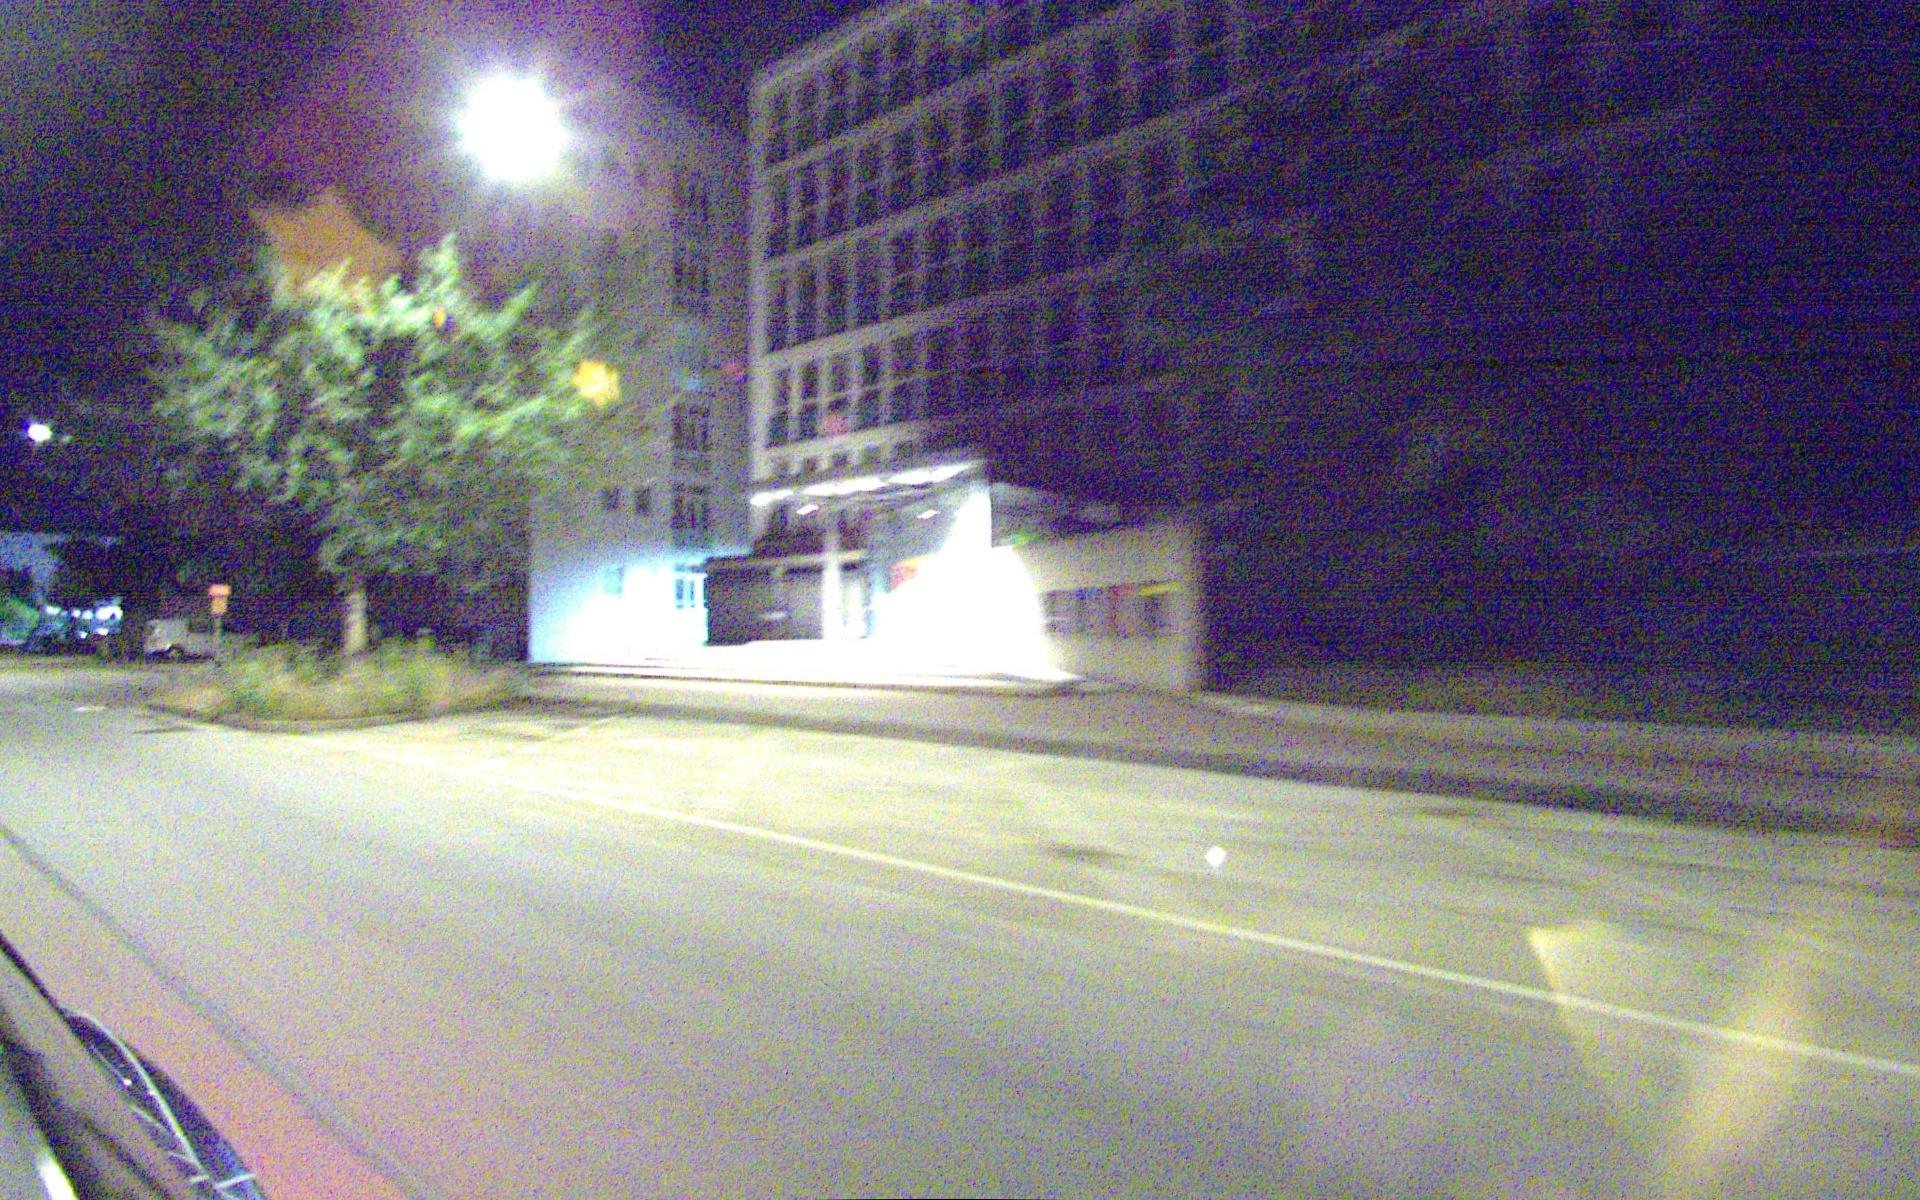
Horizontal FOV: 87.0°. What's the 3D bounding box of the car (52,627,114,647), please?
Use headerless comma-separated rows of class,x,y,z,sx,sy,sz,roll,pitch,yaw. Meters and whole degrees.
car,-79.768,3.359,92.050,1.803,1.474,3.951,-2,2,37

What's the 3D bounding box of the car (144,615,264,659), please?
car,-37.076,1.792,49.722,1.998,1.987,4.388,-2,-1,39
